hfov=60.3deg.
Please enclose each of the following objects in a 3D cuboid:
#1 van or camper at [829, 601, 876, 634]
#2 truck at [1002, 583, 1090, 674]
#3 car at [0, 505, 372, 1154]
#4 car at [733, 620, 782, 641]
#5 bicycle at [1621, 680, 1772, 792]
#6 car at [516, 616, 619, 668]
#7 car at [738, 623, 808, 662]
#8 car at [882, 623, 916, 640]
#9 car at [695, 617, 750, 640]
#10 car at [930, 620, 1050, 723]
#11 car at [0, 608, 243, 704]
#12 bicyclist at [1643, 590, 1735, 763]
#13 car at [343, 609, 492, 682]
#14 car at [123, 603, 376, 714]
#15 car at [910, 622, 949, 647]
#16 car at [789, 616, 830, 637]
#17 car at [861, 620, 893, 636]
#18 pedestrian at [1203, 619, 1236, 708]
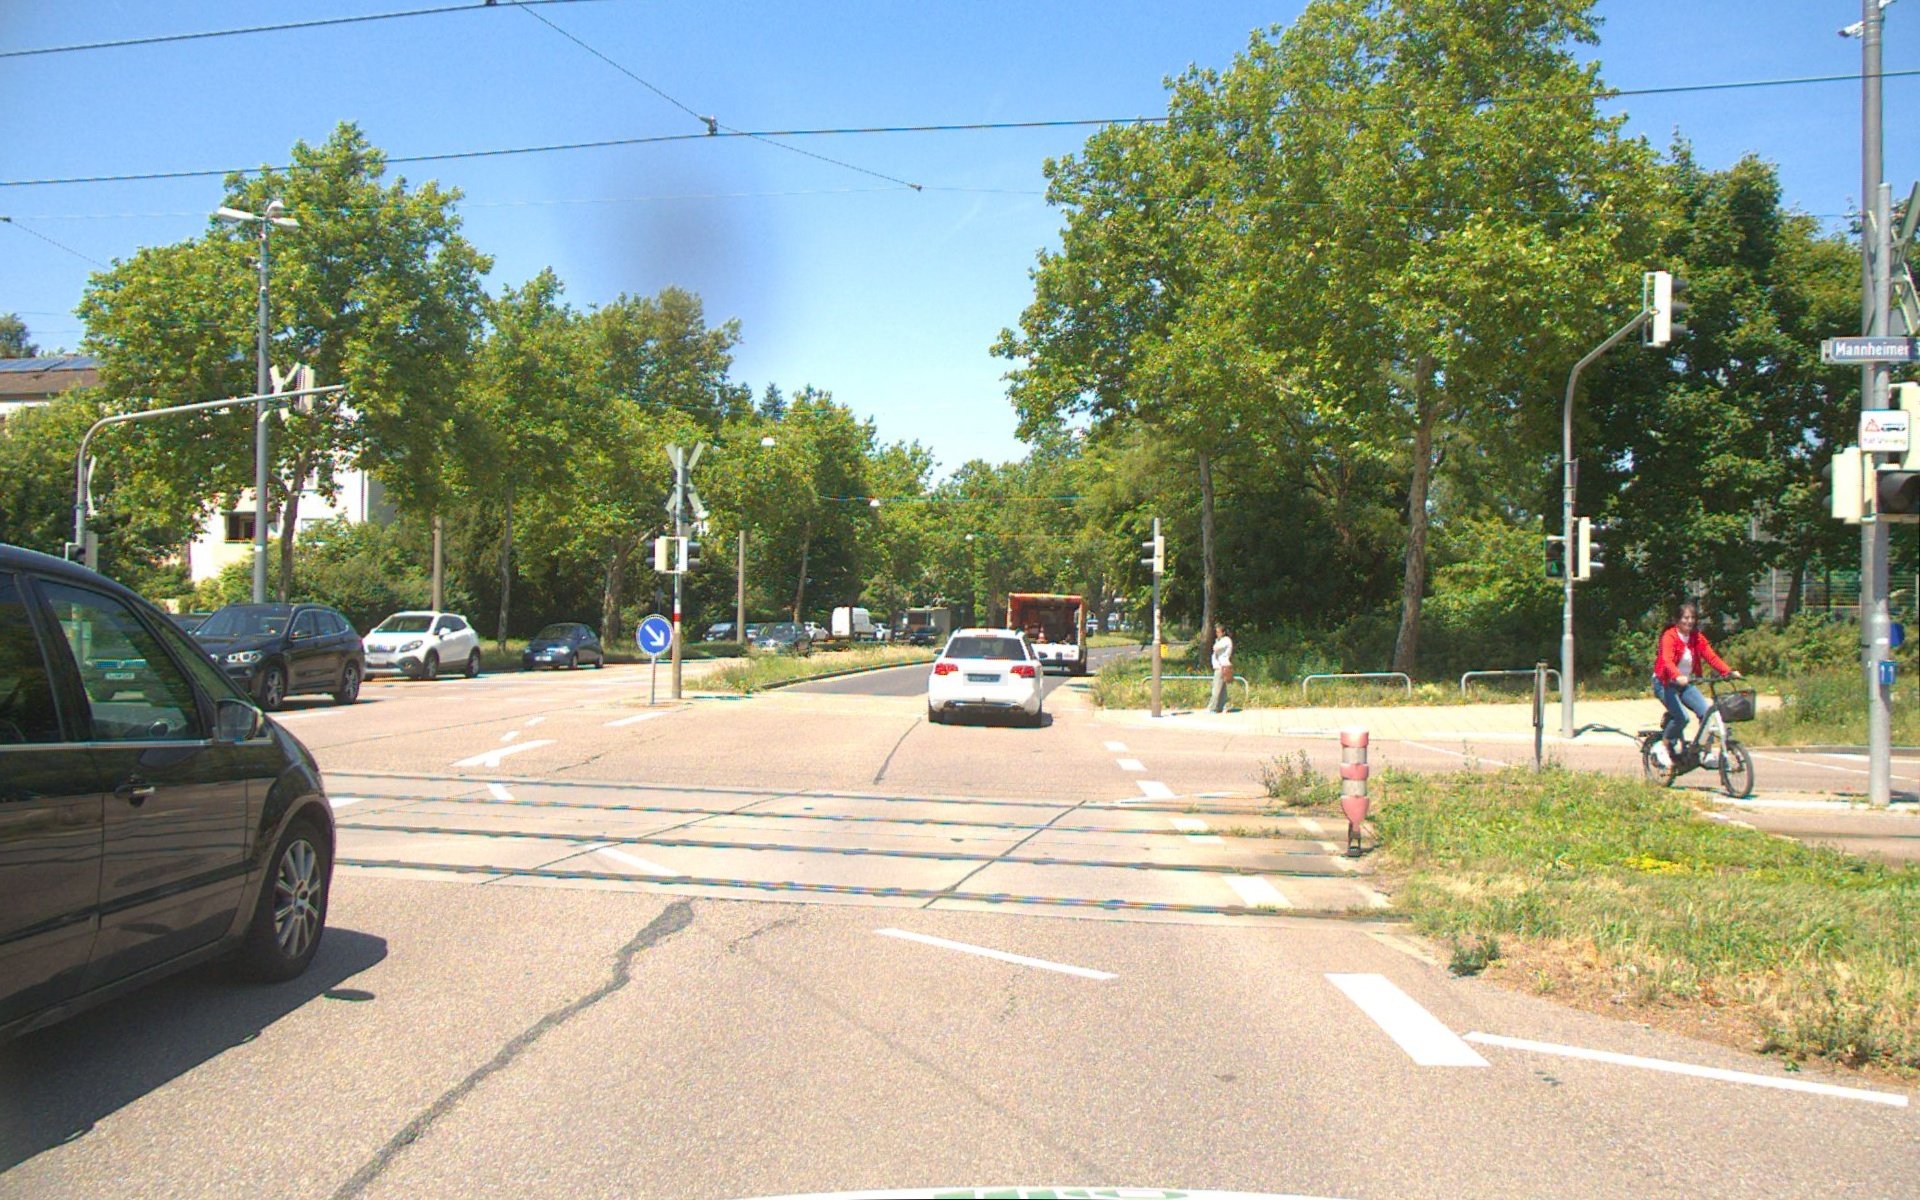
[{"bbox_3d":[-8.570,1.388,131.899,2.136,2.633,5.312,0,-1,15],"label":"van or camper"},{"bbox_3d":[2.840,0.836,52.828,2.458,2.604,7.608,2,0,5],"label":"truck"},{"bbox_3d":[-3.543,0.633,4.983,1.816,1.786,4.649,0,0,1],"label":"car"},{"bbox_3d":[-13.816,2.093,113.057,1.842,1.400,4.002,1,-1,18],"label":"car"},{"bbox_3d":[6.844,1.242,15.465,0.575,0.911,1.811,0,-1,-1],"label":"bicycle"},{"bbox_3d":[-11.881,1.247,50.262,1.683,1.481,3.872,0,0,9],"label":"car"},{"bbox_3d":[-7.124,1.623,63.435,1.699,1.419,4.181,-1,-1,7],"label":"car"},{"bbox_3d":[-5.279,2.710,143.846,1.790,1.415,3.949,1,-1,17],"label":"car"},{"bbox_3d":[-15.411,1.849,107.475,1.843,1.417,4.000,1,-1,21],"label":"car"},{"bbox_3d":[0.444,1.061,25.908,1.726,1.471,3.615,1,-1,0],"label":"car"},{"bbox_3d":[-14.183,0.873,27.795,1.908,1.465,4.748,0,0,4],"label":"car"},{"bbox_3d":[6.847,0.705,15.554,0.566,1.584,0.673,0,-1,-2],"label":"bicyclist"},{"bbox_3d":[-13.083,1.054,40.174,1.749,1.643,4.407,1,0,6],"label":"car"},{"bbox_3d":[-10.865,0.858,25.667,1.869,1.566,4.300,1,-1,3],"label":"car"},{"bbox_3d":[-1.985,2.268,109.381,1.773,1.533,4.597,0,0,9],"label":"car"},{"bbox_3d":[-11.160,1.931,122.851,1.841,1.500,4.003,1,-1,14],"label":"car"},{"bbox_3d":[-6.913,2.347,138.061,1.657,1.306,3.806,1,-1,13],"label":"car"},{"bbox_3d":[4.493,1.095,28.601,0.541,1.510,0.630,0,-1,10],"label":"pedestrian"}]
